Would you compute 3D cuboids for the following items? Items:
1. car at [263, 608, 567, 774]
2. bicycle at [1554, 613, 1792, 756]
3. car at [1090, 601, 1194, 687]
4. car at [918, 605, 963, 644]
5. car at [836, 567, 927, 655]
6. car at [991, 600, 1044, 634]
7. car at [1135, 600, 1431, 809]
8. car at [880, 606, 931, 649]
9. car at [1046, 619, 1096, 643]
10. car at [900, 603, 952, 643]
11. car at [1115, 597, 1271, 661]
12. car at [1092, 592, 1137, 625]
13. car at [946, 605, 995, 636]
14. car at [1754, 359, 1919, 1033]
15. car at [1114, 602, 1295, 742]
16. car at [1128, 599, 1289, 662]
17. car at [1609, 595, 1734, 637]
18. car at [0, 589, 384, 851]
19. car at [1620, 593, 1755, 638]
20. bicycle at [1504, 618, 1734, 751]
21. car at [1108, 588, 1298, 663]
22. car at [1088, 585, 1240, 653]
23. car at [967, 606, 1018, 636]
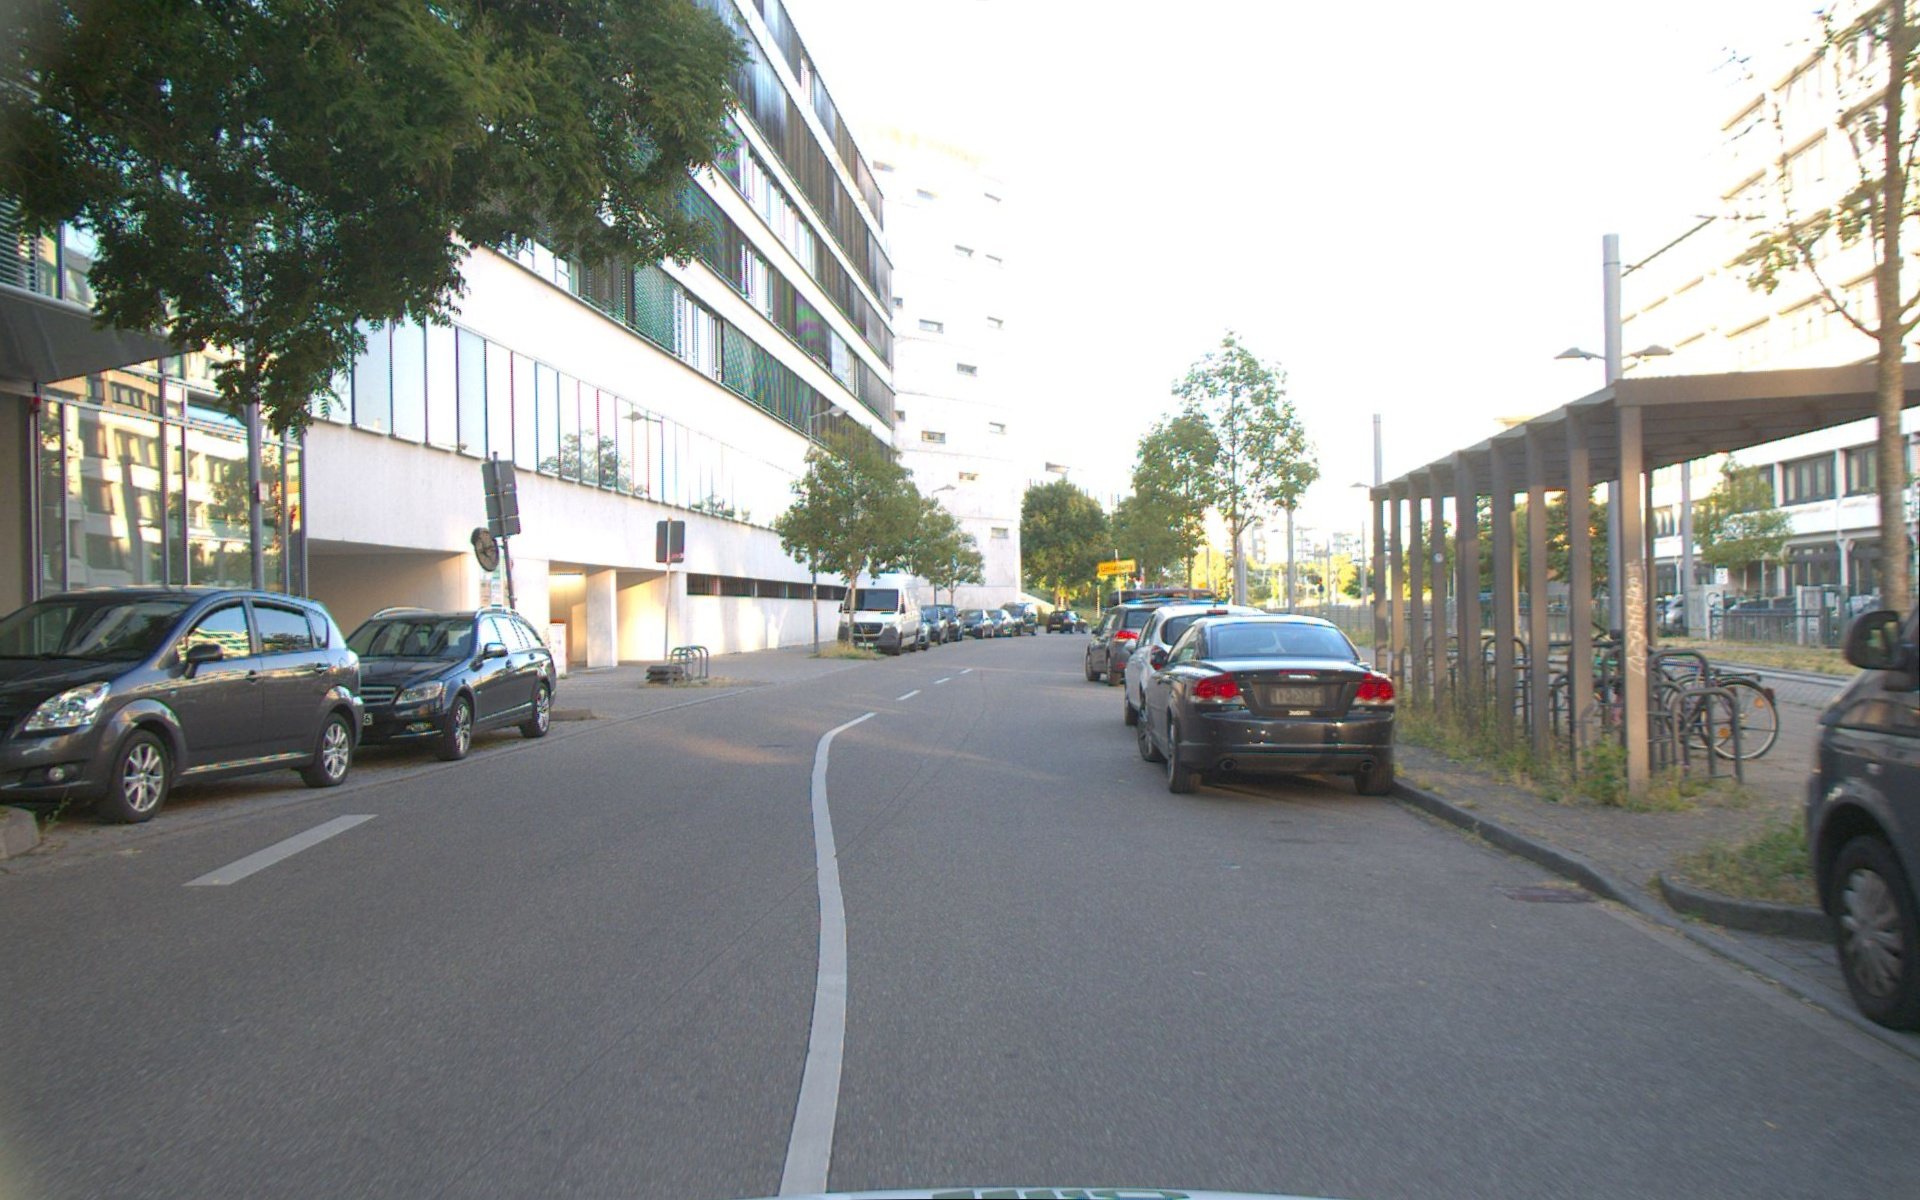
[{"bbox_3d":[-5.503,0.842,17.318,1.679,1.477,4.399,-1,0,0],"label":"car"},{"bbox_3d":[5.724,0.676,13.324,1.683,1.085,0.421,-2,-1,4],"label":"bicycle"},{"bbox_3d":[3.405,0.815,31.552,1.695,1.491,4.001,1,-1,3],"label":"car"},{"bbox_3d":[-0.852,1.072,74.882,1.719,1.682,3.950,1,0,4],"label":"car"},{"bbox_3d":[-2.492,0.335,54.134,1.917,2.663,6.897,1,0,6],"label":"car"},{"bbox_3d":[3.290,0.945,94.189,1.721,1.830,4.464,1,0,20],"label":"car"},{"bbox_3d":[2.571,0.758,14.214,1.750,1.477,4.516,-1,0,1],"label":"car"},{"bbox_3d":[-1.959,0.965,60.398,1.720,1.465,3.901,1,0,0],"label":"car"},{"bbox_3d":[7.021,1.934,104.030,1.904,1.407,4.399,1,0,21],"label":"car"},{"bbox_3d":[-1.404,0.928,69.091,1.719,1.588,4.045,1,0,5],"label":"car"},{"bbox_3d":[6.224,0.777,44.130,3.947,1.623,1.718,2,-1,-32],"label":"car"},{"bbox_3d":[7.391,0.412,78.933,1.685,1.493,3.556,-2,0,12],"label":"car"},{"bbox_3d":[0.573,1.017,83.558,1.685,1.483,4.275,1,0,11],"label":"car"},{"bbox_3d":[3.940,0.285,4.161,1.766,2.214,4.738,-3,0,4],"label":"car"},{"bbox_3d":[2.809,0.776,19.793,1.641,1.477,4.188,-1,0,2],"label":"car"},{"bbox_3d":[7.328,0.873,48.646,4.538,1.779,1.853,0,0,-30],"label":"car"},{"bbox_3d":[26.055,0.576,60.661,3.903,1.422,1.592,1,0,3],"label":"car"},{"bbox_3d":[-6.079,0.741,12.283,1.805,1.599,4.270,-1,0,5],"label":"car"},{"bbox_3d":[24.956,0.530,56.812,3.903,1.422,1.592,1,0,3],"label":"car"},{"bbox_3d":[5.725,0.729,14.429,1.768,1.085,0.487,-2,-1,4],"label":"bicycle"},{"bbox_3d":[5.544,0.581,37.657,3.947,1.547,1.908,-2,-2,-31],"label":"car"},{"bbox_3d":[6.425,0.576,52.002,4.538,2.071,1.853,0,0,-30],"label":"car"},{"bbox_3d":[1.770,1.105,89.073,1.686,1.483,4.697,1,0,15],"label":"car"}]
